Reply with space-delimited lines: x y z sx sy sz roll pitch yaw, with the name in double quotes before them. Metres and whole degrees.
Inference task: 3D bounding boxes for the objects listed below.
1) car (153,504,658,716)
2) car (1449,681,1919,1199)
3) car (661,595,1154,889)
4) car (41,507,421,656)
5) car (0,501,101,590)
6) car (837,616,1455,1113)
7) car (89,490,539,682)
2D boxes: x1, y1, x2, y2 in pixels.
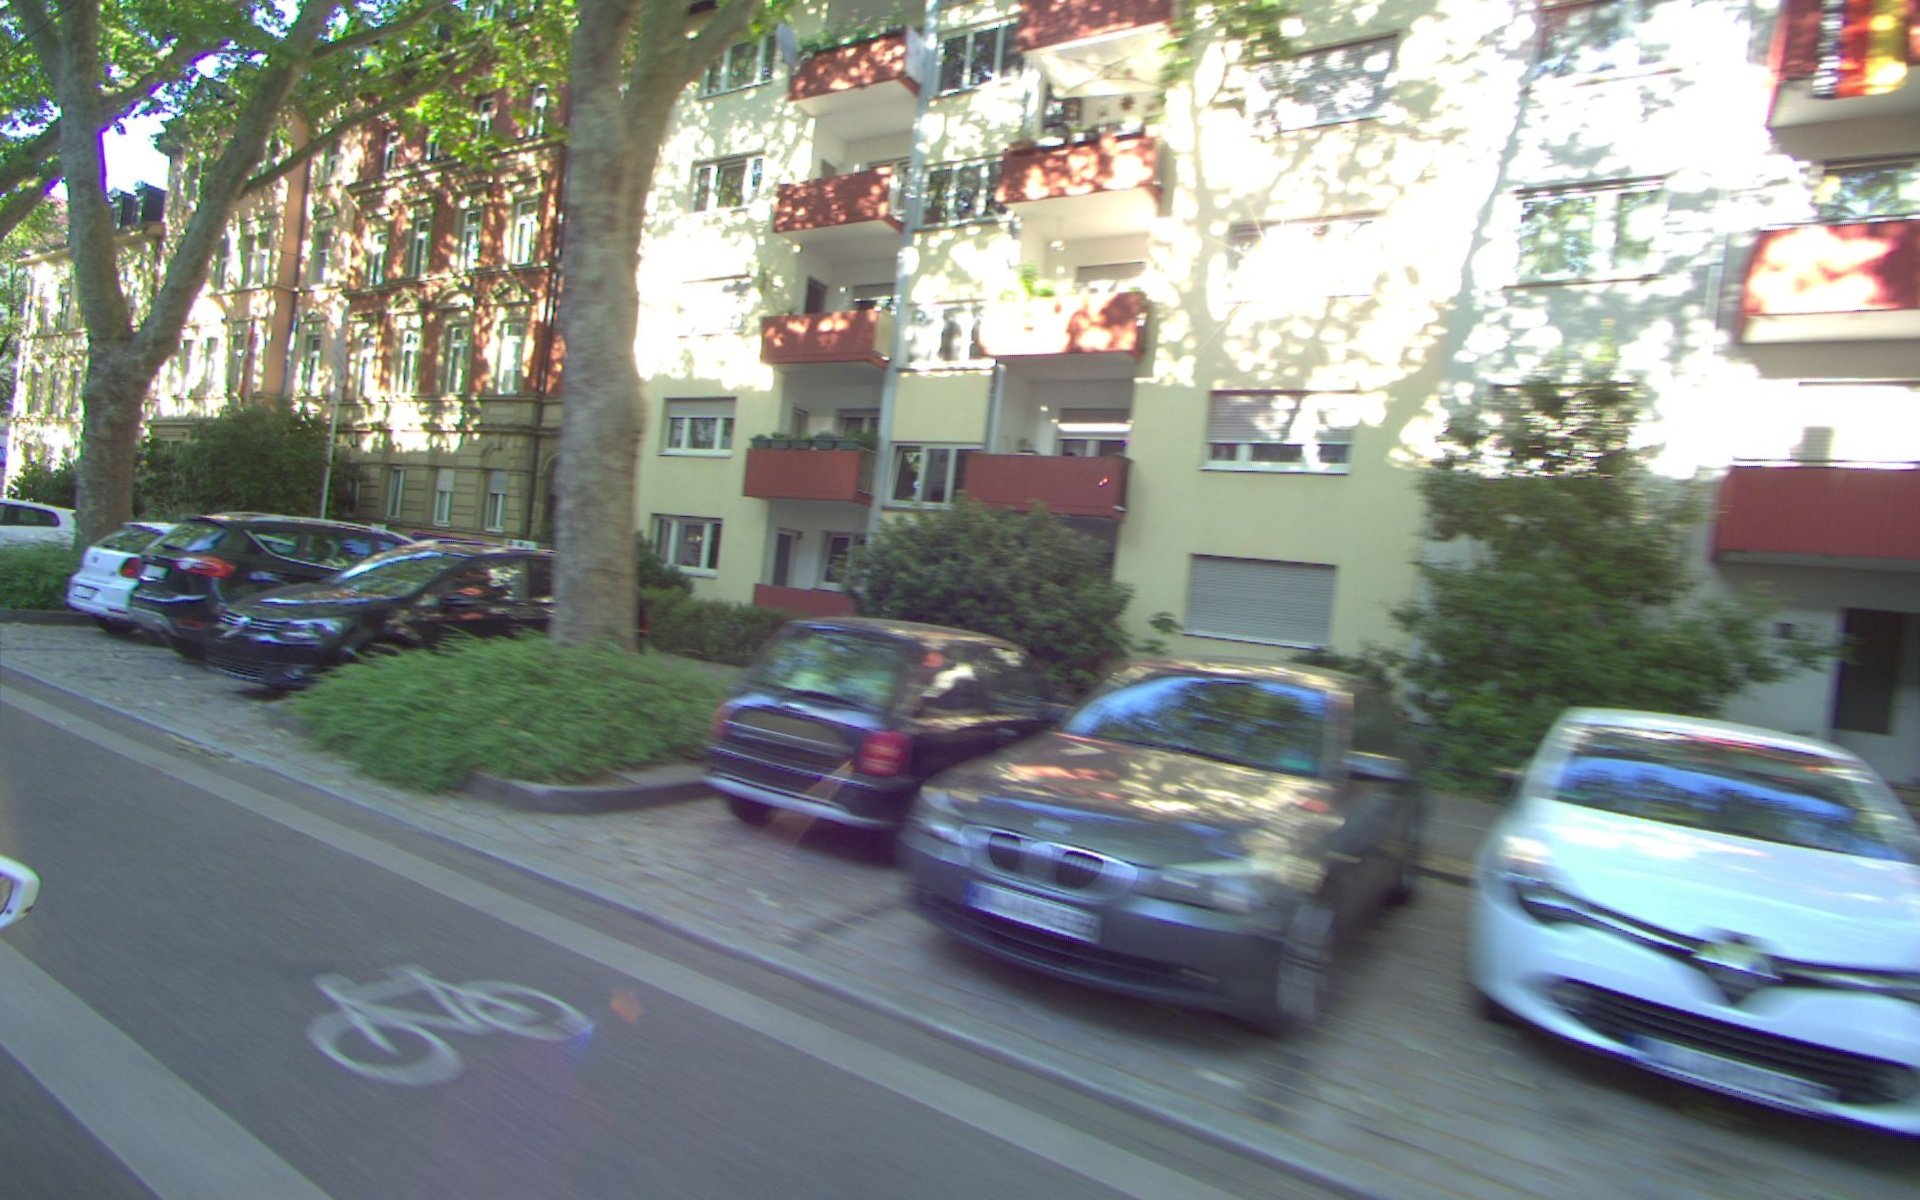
"car" -5.467 0.201 10.592 1.713 1.672 4.299 6 -1 29
"car" 3.588 1.271 5.044 1.616 1.500 3.478 6 0 31
"car" -0.110 0.895 7.530 1.672 1.461 3.829 6 0 32
"car" -9.395 -0.157 13.262 1.632 1.513 3.615 6 -1 30
"car" -18.202 -1.132 17.987 1.661 1.498 3.957 6 0 32
"car" 1.432 1.038 5.672 1.880 1.500 4.199 6 0 32
"car" -7.368 -0.046 11.908 1.775 1.766 3.999 7 -1 31
